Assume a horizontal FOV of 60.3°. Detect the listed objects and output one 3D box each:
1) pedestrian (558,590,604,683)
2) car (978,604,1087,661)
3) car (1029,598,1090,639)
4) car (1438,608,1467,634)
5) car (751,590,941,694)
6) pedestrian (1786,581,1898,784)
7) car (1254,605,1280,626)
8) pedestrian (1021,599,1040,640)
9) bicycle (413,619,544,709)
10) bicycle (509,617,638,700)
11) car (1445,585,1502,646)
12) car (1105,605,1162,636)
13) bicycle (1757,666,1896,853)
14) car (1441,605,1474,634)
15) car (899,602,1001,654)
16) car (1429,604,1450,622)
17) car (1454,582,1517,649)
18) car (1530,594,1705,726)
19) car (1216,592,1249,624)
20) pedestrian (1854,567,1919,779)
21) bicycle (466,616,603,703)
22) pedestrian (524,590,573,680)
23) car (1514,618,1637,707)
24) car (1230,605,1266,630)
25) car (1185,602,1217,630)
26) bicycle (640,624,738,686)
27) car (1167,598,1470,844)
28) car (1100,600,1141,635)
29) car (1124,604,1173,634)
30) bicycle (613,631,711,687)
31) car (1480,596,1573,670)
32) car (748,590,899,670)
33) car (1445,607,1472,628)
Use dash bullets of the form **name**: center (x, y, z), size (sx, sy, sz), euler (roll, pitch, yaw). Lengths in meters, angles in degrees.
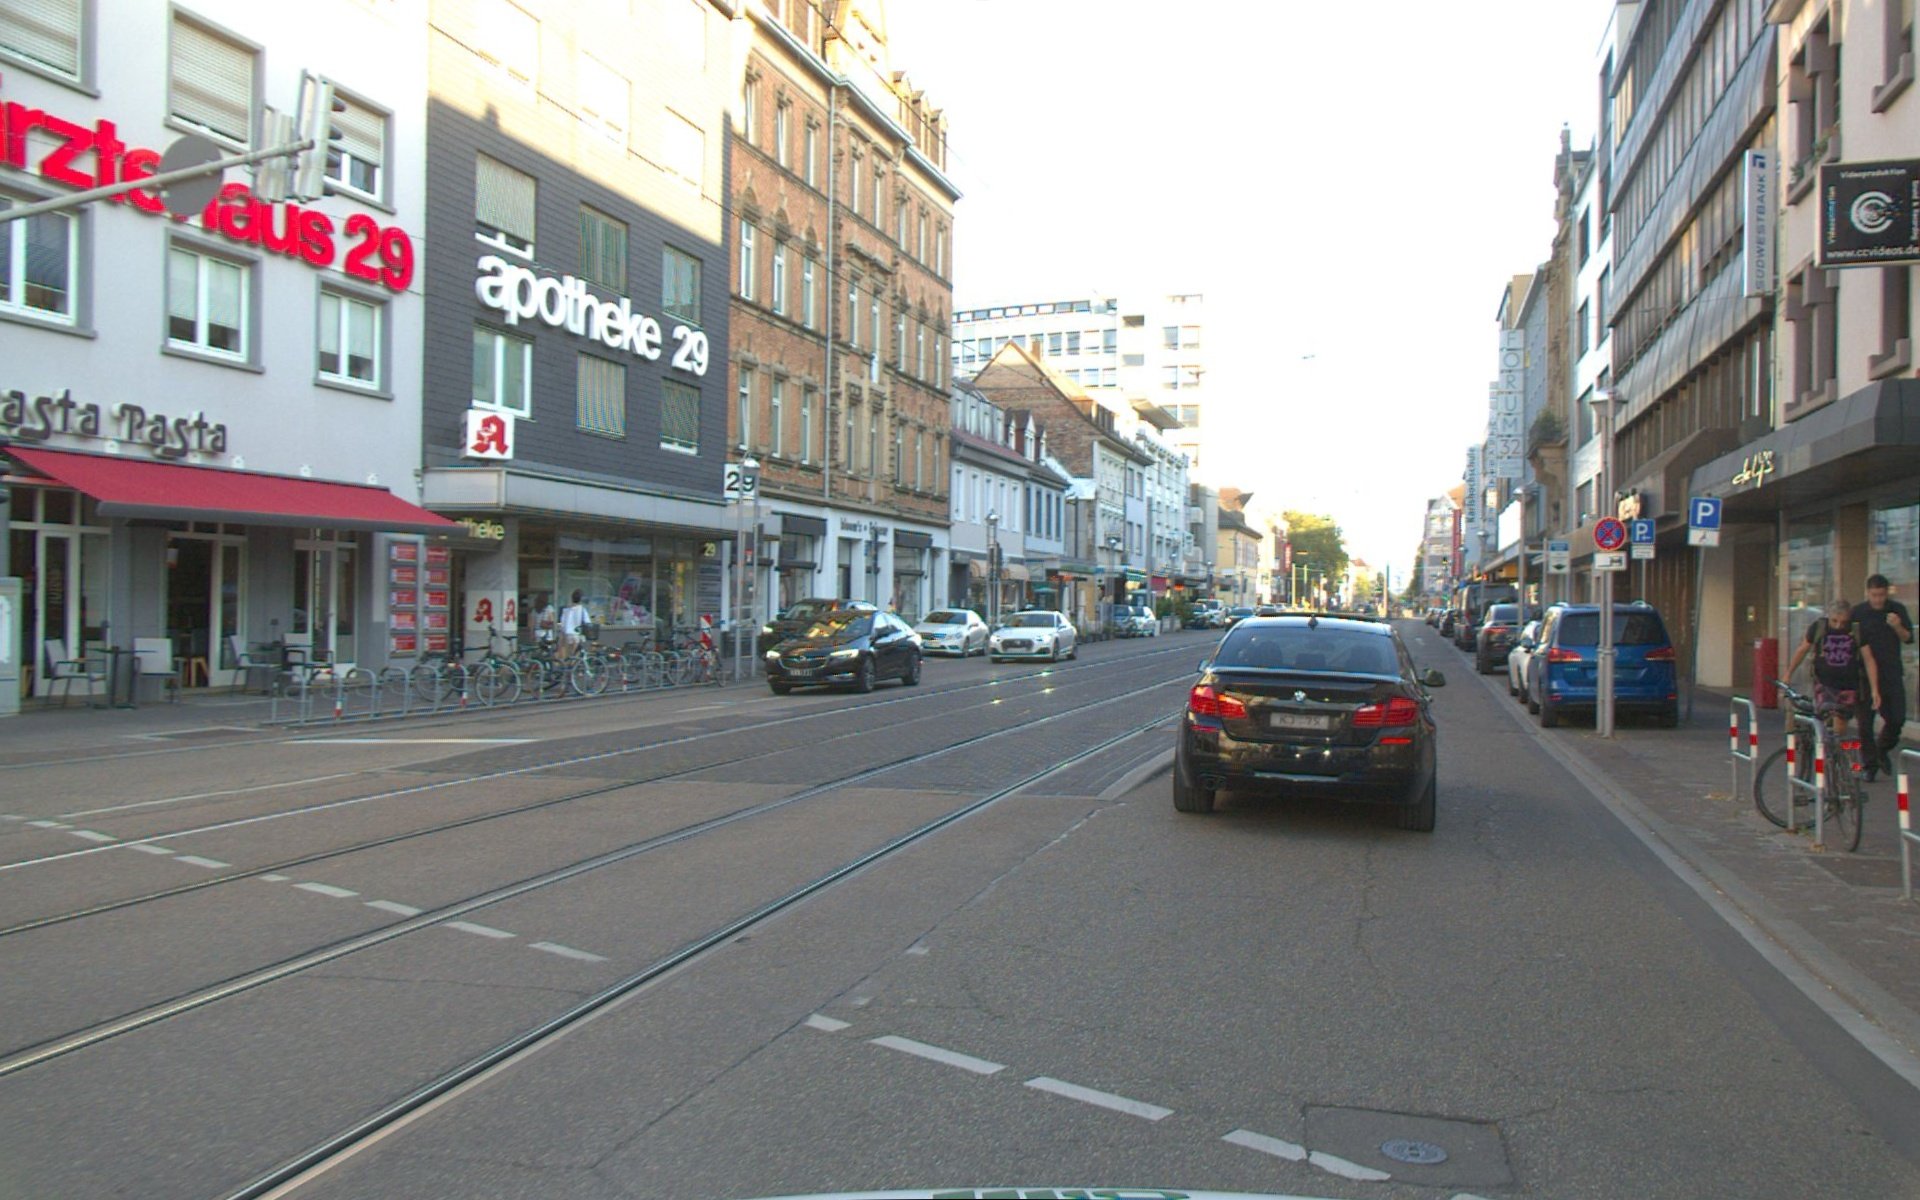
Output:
- **pedestrian**: center (-7.153, 0.678, 31.195), size (0.607, 1.729, 0.603), euler (1, 0, 15)
- **car**: center (2.094, 0.882, 46.147), size (1.951, 1.478, 4.659), euler (1, 0, 17)
- **car**: center (3.950, 0.707, 65.068), size (1.564, 1.465, 3.815), euler (2, 1, 16)
- **car**: center (28.954, 1.213, 97.284), size (1.526, 1.467, 3.711), euler (-2, -1, 15)
- **car**: center (-1.992, 0.749, 30.638), size (1.951, 1.758, 4.730), euler (-1, -1, 17)
- **pedestrian**: center (8.320, 0.762, 15.637), size (0.721, 1.861, 0.851), euler (-1, -1, 14)
- **car**: center (22.391, 1.133, 120.636), size (1.655, 1.478, 4.469), euler (1, 0, 13)
- **pedestrian**: center (2.976, 0.822, 69.859), size (0.648, 1.673, 0.695), euler (1, 0, 16)
- **bicycle**: center (-7.303, 0.959, 25.078), size (1.851, 1.232, 0.553), euler (3, 0, 16)
- **bicycle**: center (-6.486, 0.970, 27.768), size (2.067, 1.245, 0.553), euler (3, 2, 16)
- **car**: center (21.989, 0.653, 70.948), size (1.990, 2.498, 5.413), euler (-1, -1, 14)
- **car**: center (8.676, 1.011, 82.213), size (1.951, 1.478, 4.824), euler (1, 0, 17)
- **bicycle**: center (6.050, 1.076, 11.612), size (0.522, 1.167, 1.491), euler (0, 0, 14)
- **car**: center (27.706, 1.057, 92.147), size (1.619, 1.564, 3.888), euler (-1, -1, 15)
- **car**: center (-0.241, 0.830, 50.411), size (1.829, 1.478, 4.613), euler (1, 0, 17)
- **car**: center (43.519, 1.183, 150.187), size (1.737, 1.576, 3.505), euler (1, -1, 15)
- **car**: center (20.388, 0.592, 64.312), size (2.048, 2.498, 6.036), euler (-1, -1, 15)
- **car**: center (9.664, 0.819, 24.639), size (1.951, 1.758, 4.579), euler (0, 0, 16)
- **car**: center (18.994, 0.547, 115.141), size (1.951, 2.194, 4.915), euler (1, 0, 12)
- **pedestrian**: center (8.985, 0.677, 15.716), size (0.647, 1.961, 0.879), euler (-1, -1, 14)
- **bicycle**: center (-6.815, 0.937, 26.486), size (2.067, 1.245, 0.553), euler (3, 0, 16)
- **pedestrian**: center (-7.801, 0.653, 31.353), size (0.668, 1.690, 0.625), euler (1, 0, 15)
- **car**: center (11.206, 1.100, 30.334), size (1.757, 1.458, 3.889), euler (-1, 0, 16)
- **car**: center (17.923, 1.083, 102.718), size (1.951, 1.478, 4.652), euler (1, 0, 13)
- **car**: center (15.652, 1.027, 107.488), size (1.826, 1.714, 4.003), euler (1, 0, 11)
- **bicycle**: center (-5.251, 1.055, 32.053), size (1.792, 1.065, 0.489), euler (3, 2, 16)
- **car**: center (2.895, 0.825, 13.046), size (1.912, 1.524, 4.468), euler (2, -1, 14)
- **car**: center (7.529, 0.808, 77.416), size (1.445, 1.605, 2.797), euler (0, 0, 15)
- **car**: center (9.963, 0.994, 87.173), size (1.951, 1.478, 4.332), euler (1, 0, 15)
- **bicycle**: center (-5.633, 1.108, 31.284), size (1.767, 0.928, 0.456), euler (3, 2, 16)
- **car**: center (14.366, 0.826, 42.167), size (1.951, 1.758, 4.568), euler (-1, -1, 16)
- **car**: center (-3.140, 0.664, 39.118), size (1.890, 1.703, 4.648), euler (2, 0, 18)
- **car**: center (38.918, 1.347, 129.199), size (1.862, 1.576, 4.002), euler (1, -1, 15)
